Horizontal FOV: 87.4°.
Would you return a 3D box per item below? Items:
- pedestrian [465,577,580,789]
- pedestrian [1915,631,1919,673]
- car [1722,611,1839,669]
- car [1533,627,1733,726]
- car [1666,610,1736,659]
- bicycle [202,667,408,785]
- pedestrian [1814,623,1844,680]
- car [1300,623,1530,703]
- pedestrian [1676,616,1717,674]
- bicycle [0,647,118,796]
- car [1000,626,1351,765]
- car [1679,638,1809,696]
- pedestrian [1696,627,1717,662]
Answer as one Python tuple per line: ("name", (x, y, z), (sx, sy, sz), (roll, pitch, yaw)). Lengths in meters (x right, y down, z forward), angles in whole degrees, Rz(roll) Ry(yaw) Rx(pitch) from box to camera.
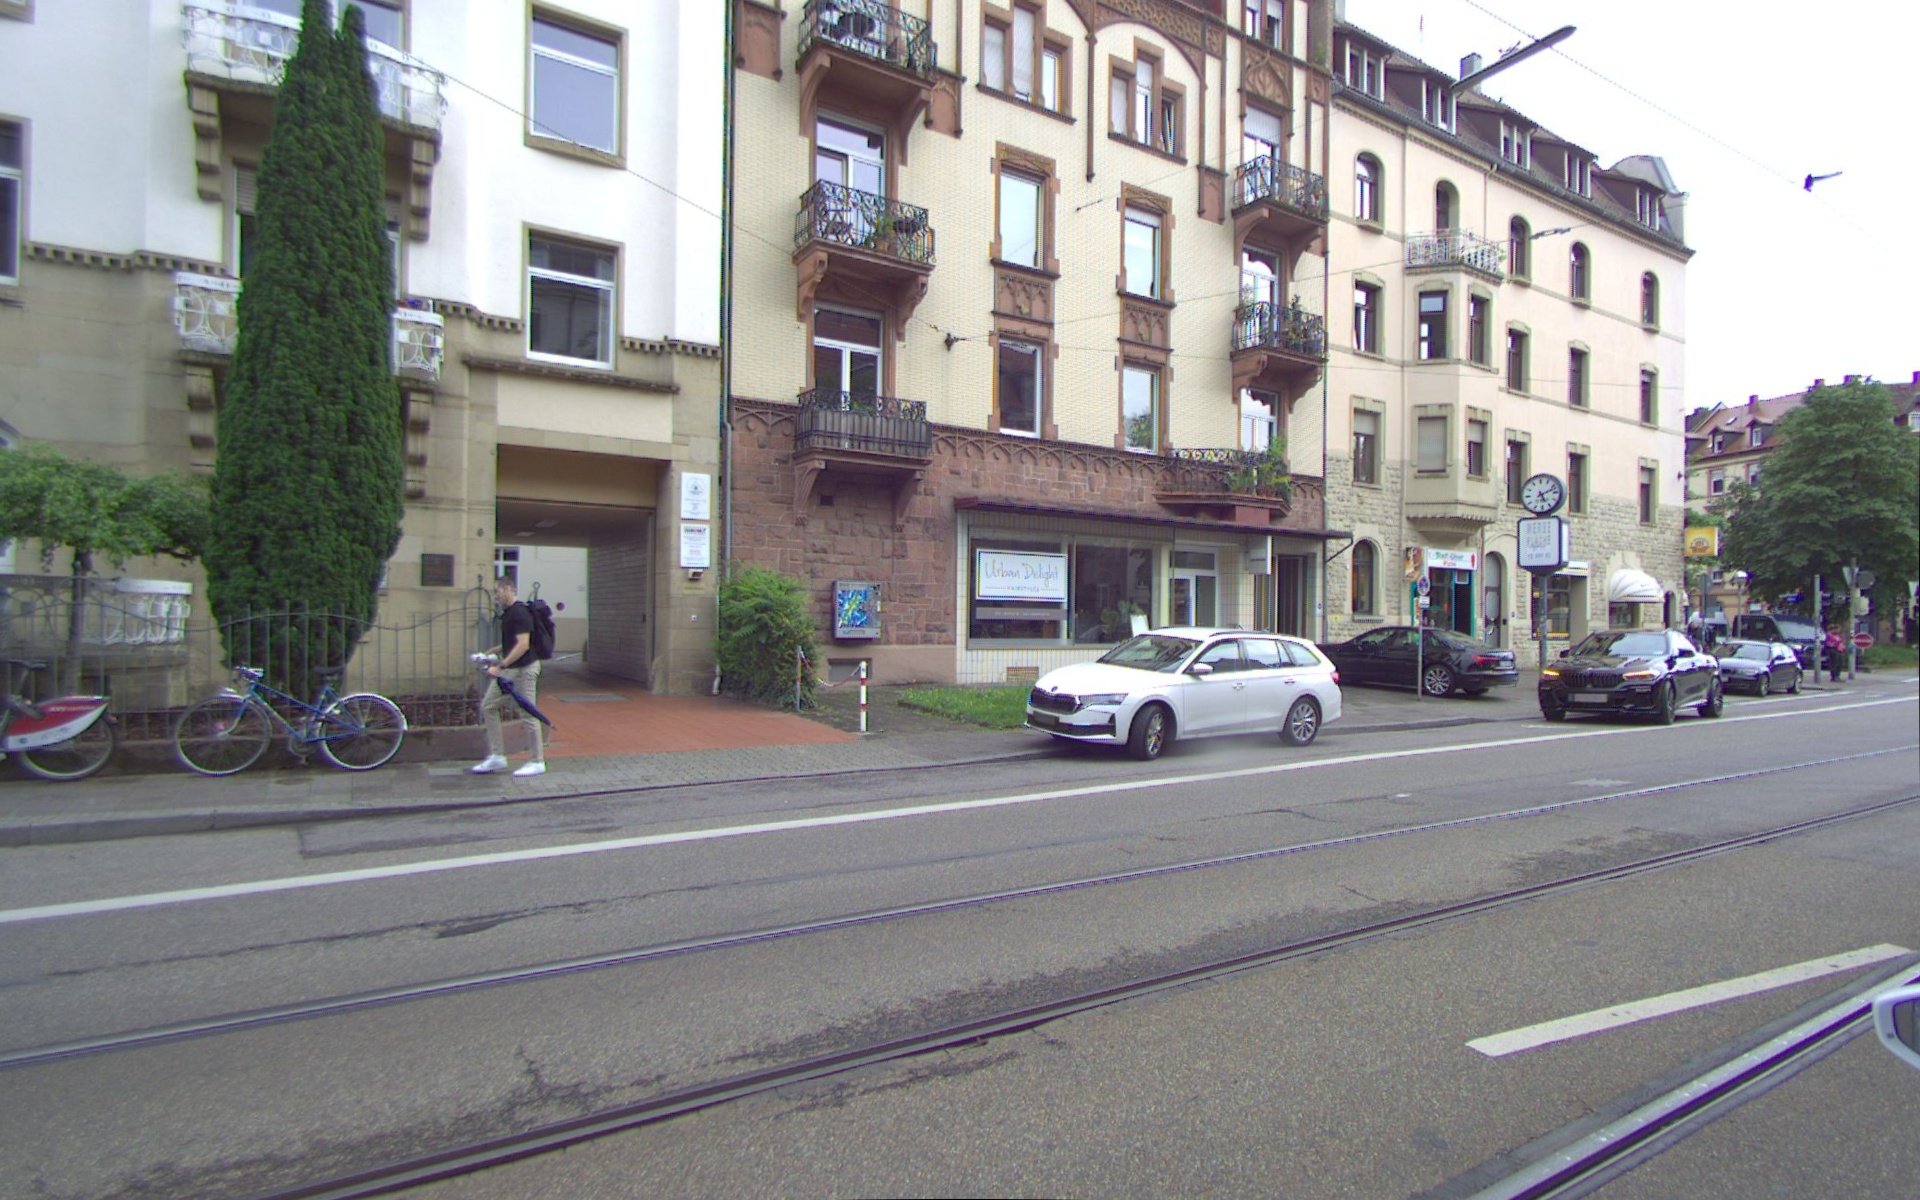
("pedestrian", (-4.102, 0.750, 9.411), (0.873, 1.868, 0.664), (1, -2, -33))
("pedestrian", (39.179, 2.089, 40.503), (0.584, 1.685, 0.833), (1, -1, -30))
("car", (37.162, 1.762, 45.677), (2.142, 2.449, 5.383), (0, -1, 16))
("car", (12.686, 1.376, 18.814), (4.849, 1.632, 1.867), (2, -4, -41))
("car", (40.606, 1.862, 55.212), (2.145, 2.560, 5.375), (0, -1, 26))
("bicycle", (-5.796, 1.090, 8.959), (1.499, 0.950, 0.330), (1, -1, -33))
("pedestrian", (28.567, 1.679, 33.008), (0.603, 1.867, 0.619), (1, -1, -34))
("car", (10.172, 1.340, 22.767), (1.862, 1.388, 4.394), (1, 1, -36))
("pedestrian", (26.703, 1.627, 36.422), (0.826, 2.040, 0.969), (1, -2, -32))
("bicycle", (-7.539, 0.933, 7.716), (1.614, 1.116, 0.381), (2, -2, -44))
("car", (2.858, 1.106, 12.896), (4.560, 1.504, 1.737), (1, -2, -33))
("car", (21.583, 1.793, 27.620), (4.087, 1.380, 1.638), (2, 1, -35))
("pedestrian", (37.887, 2.240, 50.985), (0.686, 1.738, 0.552), (0, -1, 18))
